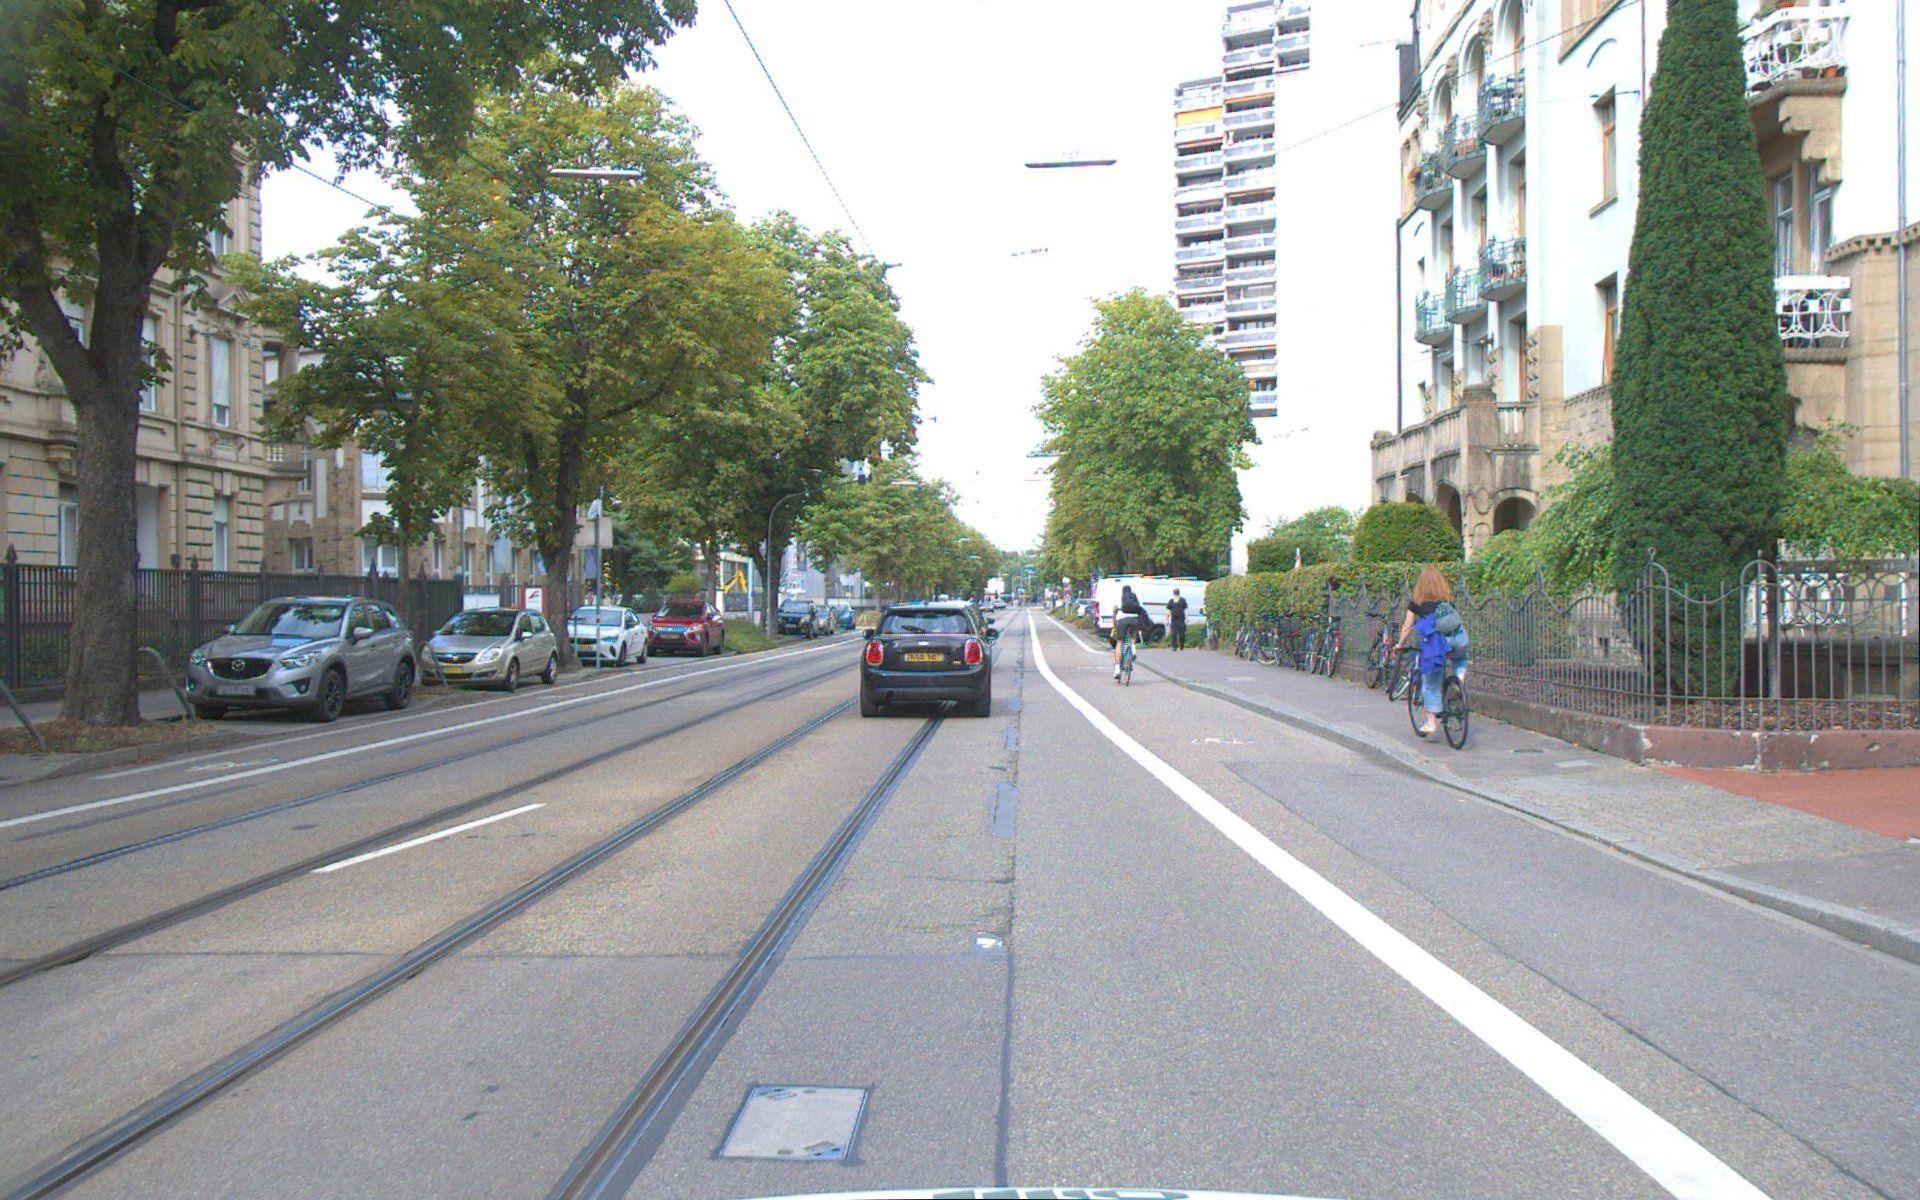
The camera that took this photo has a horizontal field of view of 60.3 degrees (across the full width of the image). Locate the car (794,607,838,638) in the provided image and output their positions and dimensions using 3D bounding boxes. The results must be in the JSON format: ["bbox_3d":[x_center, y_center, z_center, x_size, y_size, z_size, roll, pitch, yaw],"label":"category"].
[{"bbox_3d":[-6.923,1.068,79.805,1.658,1.452,3.869,1,0,2],"label":"car"}]

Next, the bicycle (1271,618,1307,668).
[{"bbox_3d":[6.365,0.822,32.024,0.475,0.923,1.666,-2,-1,5],"label":"bicycle"}]

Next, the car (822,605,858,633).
[{"bbox_3d":[-6.632,1.054,91.701,1.658,1.513,3.678,1,0,2],"label":"car"}]

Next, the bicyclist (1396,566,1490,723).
[{"bbox_3d":[4.792,0.433,16.451,0.634,1.496,0.800,-3,0,0],"label":"bicyclist"}]

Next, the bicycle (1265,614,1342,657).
[{"bbox_3d":[7.779,0.799,37.490,1.625,0.923,0.487,-2,-1,0],"label":"bicycle"}]

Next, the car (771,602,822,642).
[{"bbox_3d":[-7.185,0.947,73.127,1.719,1.676,4.053,1,0,2],"label":"car"}]

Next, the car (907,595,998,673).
[{"bbox_3d":[-0.174,0.672,34.517,1.757,1.496,3.999,1,0,-1],"label":"car"}]

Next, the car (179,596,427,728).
[{"bbox_3d":[-9.173,0.798,23.507,1.675,1.703,4.358,0,0,2],"label":"car"}]

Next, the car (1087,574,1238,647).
[{"bbox_3d":[6.780,0.351,55.125,4.914,2.330,2.349,1,-1,-41],"label":"car"}]

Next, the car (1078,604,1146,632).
[{"bbox_3d":[8.139,0.947,88.436,1.613,1.485,3.801,-1,-1,45],"label":"car"}]

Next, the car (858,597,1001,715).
[{"bbox_3d":[-0.379,0.703,22.471,1.757,1.448,4.000,0,0,0],"label":"car"}]

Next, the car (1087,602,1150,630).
[{"bbox_3d":[9.172,0.931,95.631,3.709,1.549,1.615,1,-1,-43],"label":"car"}]

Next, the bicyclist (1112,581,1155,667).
[{"bbox_3d":[3.050,0.412,29.182,0.644,1.489,1.178,0,0,1],"label":"bicyclist"}]

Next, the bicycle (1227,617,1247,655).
[{"bbox_3d":[6.917,0.884,41.347,0.378,0.923,1.666,-2,-1,7],"label":"bicycle"}]

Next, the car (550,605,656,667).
[{"bbox_3d":[-8.938,0.874,41.689,1.686,1.448,4.024,2,0,1],"label":"car"}]

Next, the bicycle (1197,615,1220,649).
[{"bbox_3d":[6.998,0.889,46.617,0.378,0.923,1.842,-1,-1,0],"label":"bicycle"}]

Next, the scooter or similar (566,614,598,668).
[{"bbox_3d":[-8.891,0.951,38.843,0.553,1.244,1.315,0,0,-21],"label":"scooter or similar"}]

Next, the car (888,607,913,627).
[{"bbox_3d":[-4.870,1.409,136.011,1.765,1.611,4.032,-1,0,2],"label":"car"}]

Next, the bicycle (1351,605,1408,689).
[{"bbox_3d":[6.125,0.667,24.213,0.383,1.162,1.921,-2,0,2],"label":"bicycle"}]

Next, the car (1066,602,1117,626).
[{"bbox_3d":[9.199,0.958,115.426,3.410,1.600,1.540,0,0,-37],"label":"car"}]

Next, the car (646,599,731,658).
[{"bbox_3d":[-8.224,0.834,50.429,1.686,1.684,4.543,2,0,1],"label":"car"}]

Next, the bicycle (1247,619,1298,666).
[{"bbox_3d":[6.398,0.872,33.937,0.477,0.923,1.661,-1,-1,-9],"label":"bicycle"}]

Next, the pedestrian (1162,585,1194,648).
[{"bbox_3d":[6.288,0.477,47.754,0.769,1.763,0.896,-3,0,2],"label":"pedestrian"}]

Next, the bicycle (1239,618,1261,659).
[{"bbox_3d":[6.724,0.879,38.361,0.378,0.923,1.666,-2,-1,7],"label":"bicycle"}]

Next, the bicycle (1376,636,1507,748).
[{"bbox_3d":[4.805,0.895,16.628,0.674,0.979,2.036,-3,0,0],"label":"bicycle"}]

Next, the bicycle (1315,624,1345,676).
[{"bbox_3d":[6.357,0.848,28.424,0.272,0.867,1.198,-1,-1,3],"label":"bicycle"}]

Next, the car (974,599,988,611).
[{"bbox_3d":[2.917,0.683,228.181,1.856,1.657,3.999,0,0,-1],"label":"car"}]

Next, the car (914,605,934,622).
[{"bbox_3d":[-3.596,1.366,165.908,1.765,1.611,4.032,-1,0,2],"label":"car"}]

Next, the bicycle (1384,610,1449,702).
[{"bbox_3d":[5.921,0.699,21.503,0.383,1.122,1.760,-2,0,2],"label":"bicycle"}]

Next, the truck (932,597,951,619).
[{"bbox_3d":[-2.184,1.001,199.267,2.028,2.513,4.900,-1,-1,2],"label":"truck"}]

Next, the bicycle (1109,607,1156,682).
[{"bbox_3d":[3.034,0.762,29.207,0.644,1.271,2.125,0,0,1],"label":"bicycle"}]

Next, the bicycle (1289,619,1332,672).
[{"bbox_3d":[6.391,0.823,30.236,0.475,0.923,1.665,-1,-1,2],"label":"bicycle"}]

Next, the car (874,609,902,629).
[{"bbox_3d":[-5.459,1.420,125.387,1.765,1.398,4.032,-1,0,2],"label":"car"}]

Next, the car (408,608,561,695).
[{"bbox_3d":[-8.779,0.913,30.871,1.567,1.494,4.080,0,0,2],"label":"car"}]
